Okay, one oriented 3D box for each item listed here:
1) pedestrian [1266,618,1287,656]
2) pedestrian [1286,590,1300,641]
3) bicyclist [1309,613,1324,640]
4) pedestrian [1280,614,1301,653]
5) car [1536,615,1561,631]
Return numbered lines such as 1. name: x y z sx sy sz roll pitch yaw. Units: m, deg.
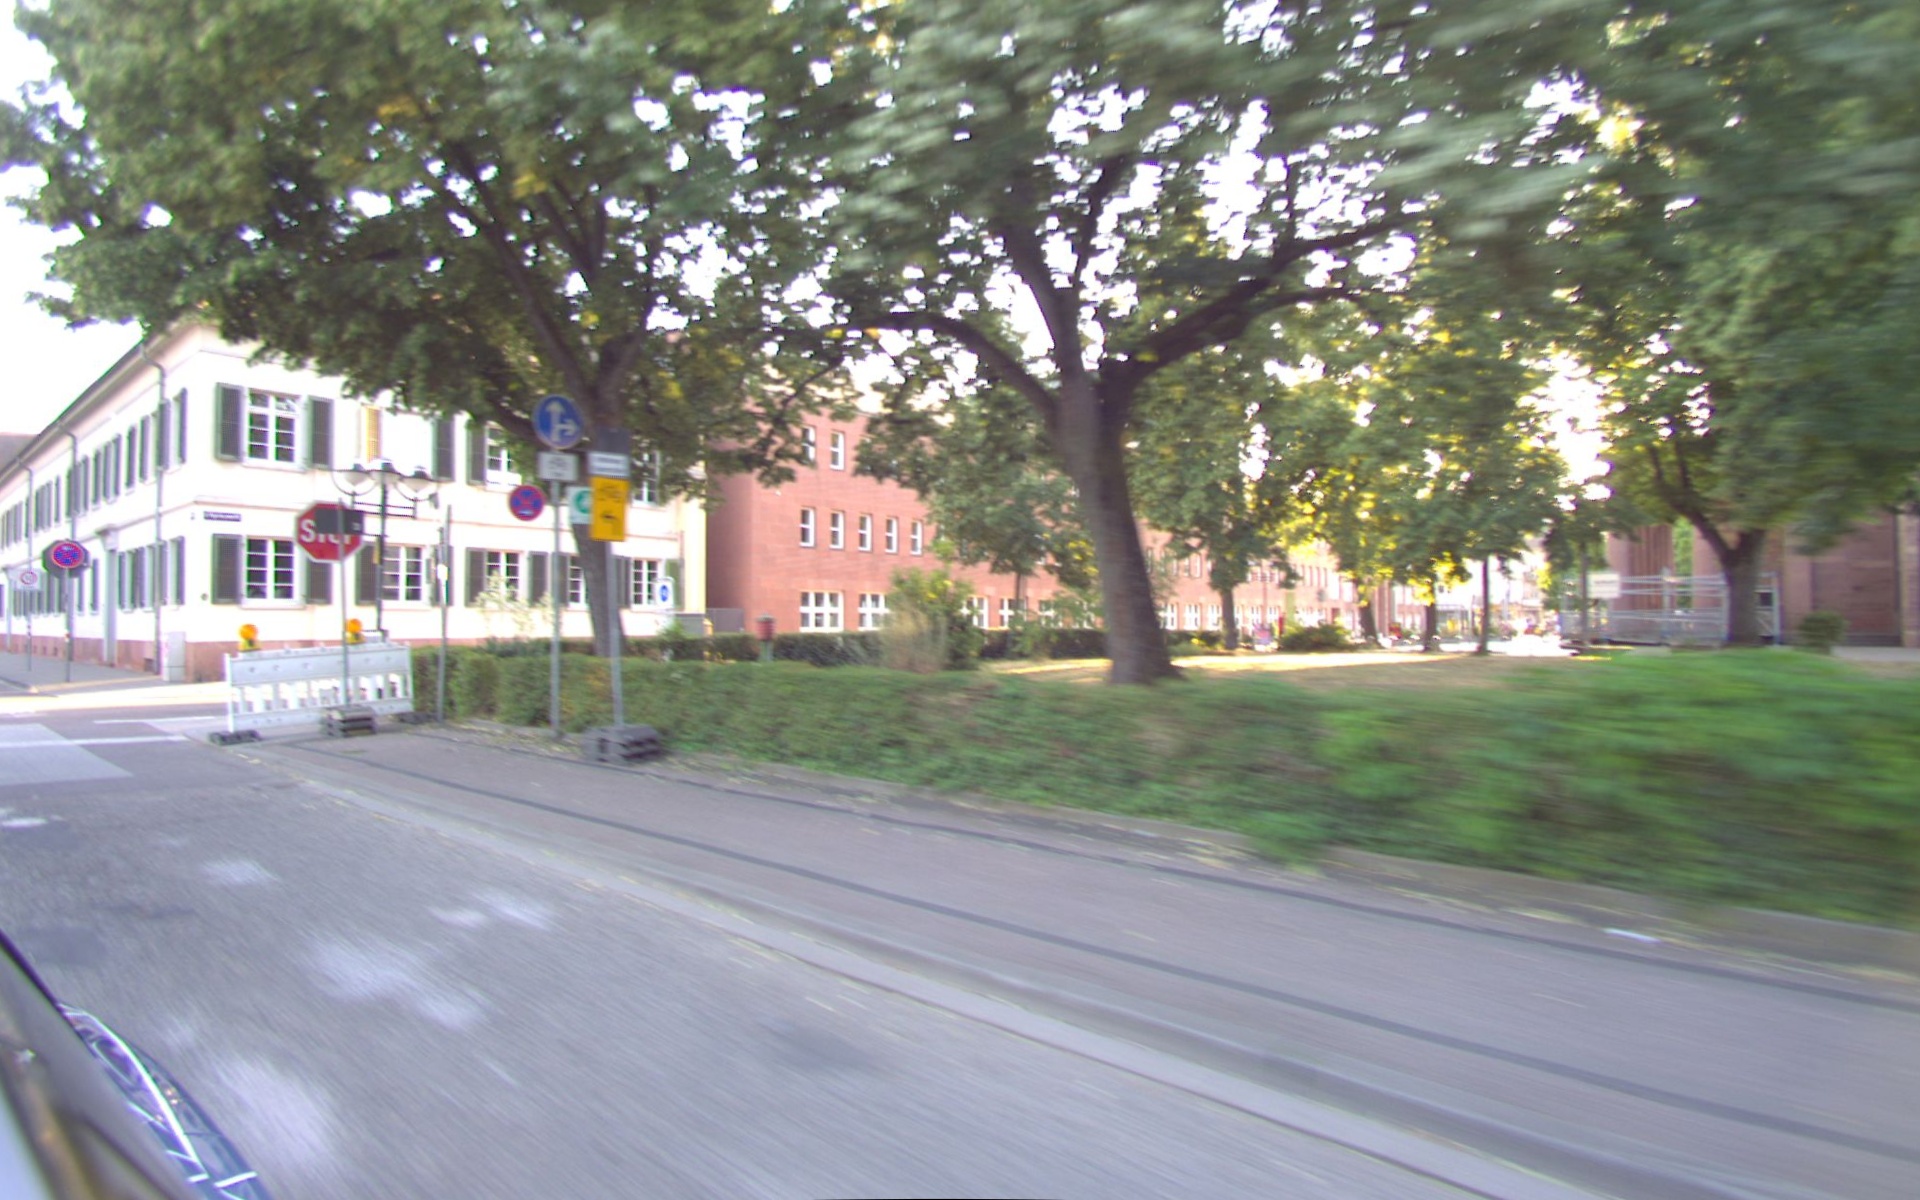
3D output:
1. pedestrian: 14.388 1.697 45.967 0.654 1.706 0.742 -2 -3 43
2. pedestrian: 13.415 0.629 40.776 0.459 2.029 0.404 -2 -2 30
3. bicyclist: 20.616 1.553 58.521 0.630 1.563 0.667 -2 -3 43
4. pedestrian: 14.846 1.499 45.473 0.654 1.706 0.742 -2 -3 43
5. car: 75.193 2.992 129.273 1.999 2.029 3.946 -1 -2 40
